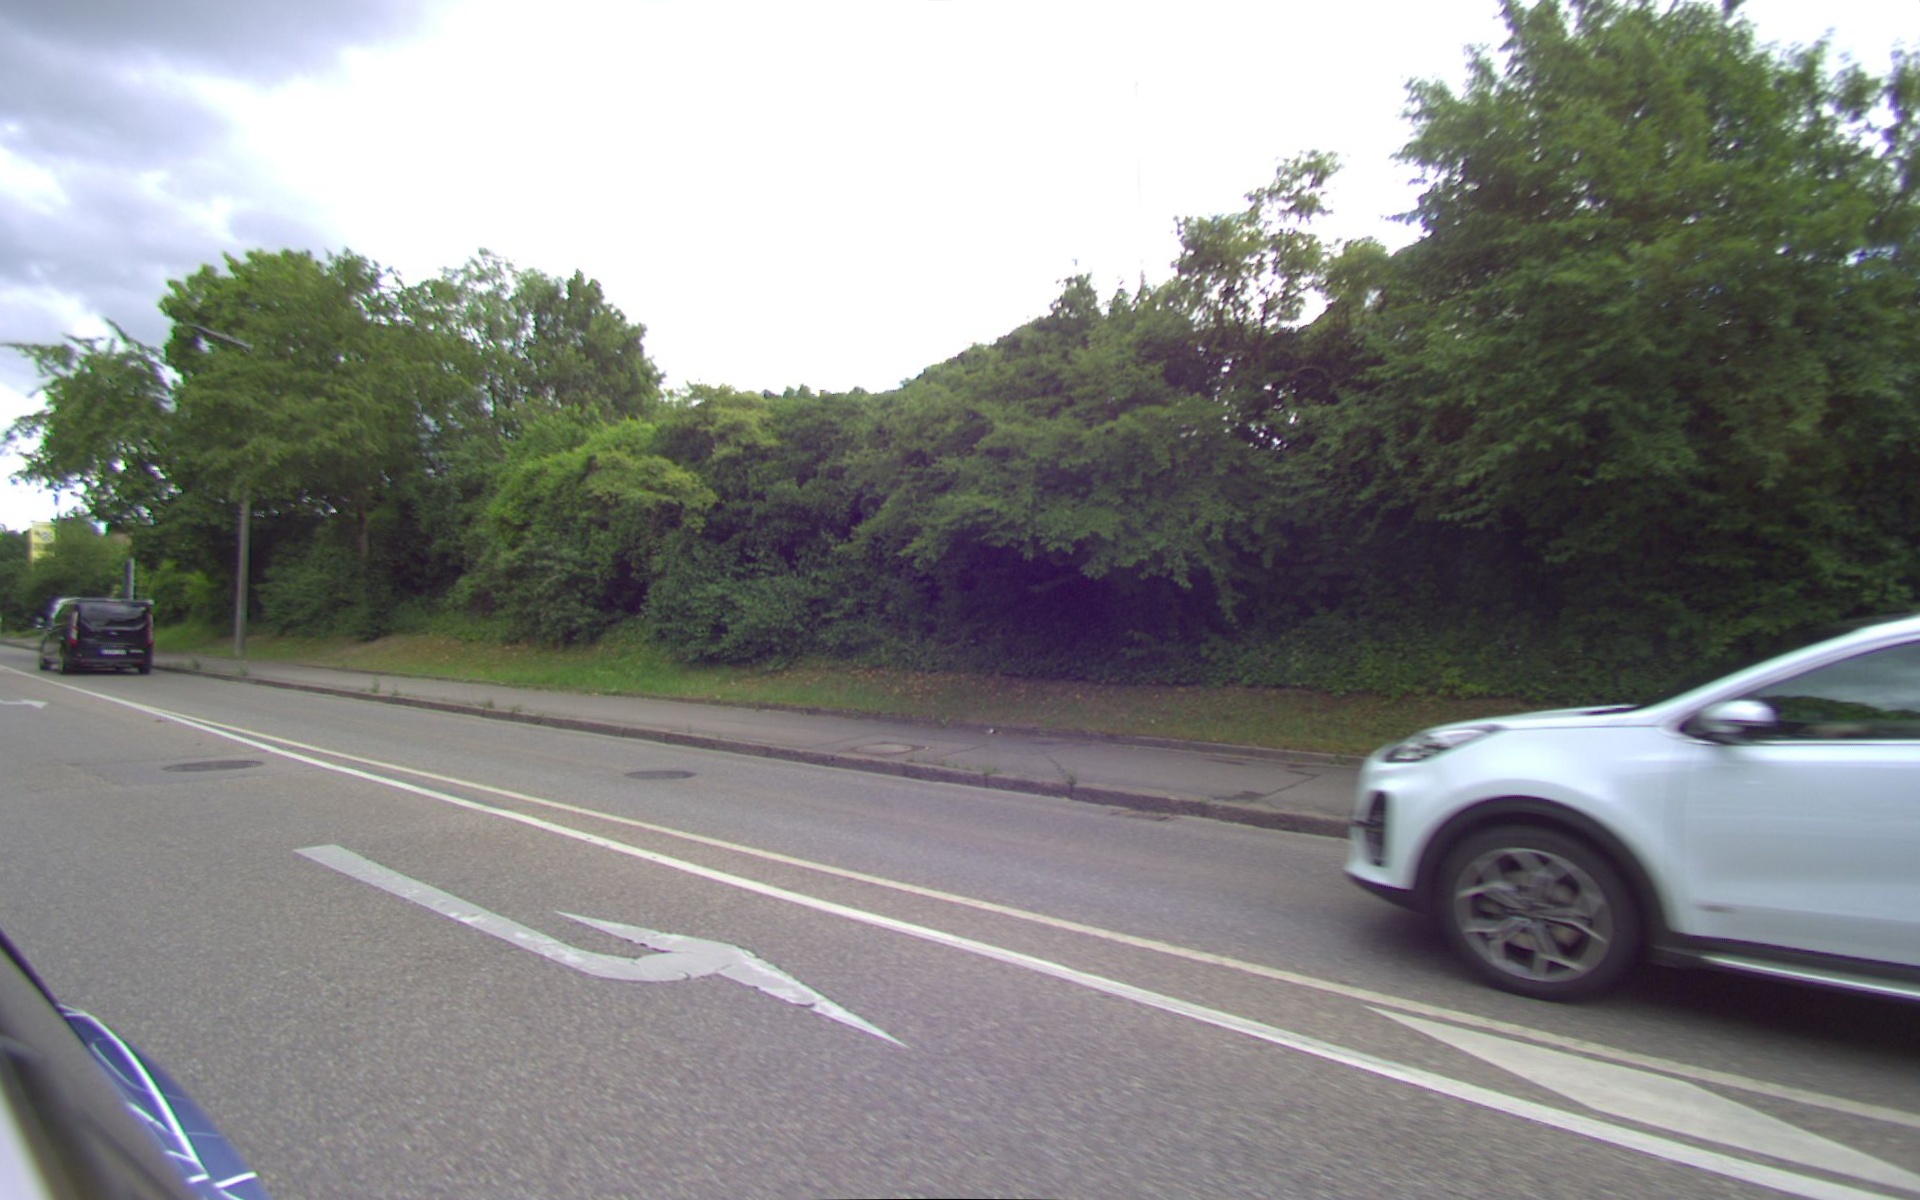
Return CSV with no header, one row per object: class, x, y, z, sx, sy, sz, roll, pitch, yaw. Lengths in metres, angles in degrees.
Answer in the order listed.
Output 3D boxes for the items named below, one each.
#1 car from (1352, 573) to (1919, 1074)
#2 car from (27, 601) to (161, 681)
car,3.912,0.766,3.868,4.155,1.633,1.823,-1,-3,40
car,-24.428,1.123,28.474,5.111,2.052,1.973,-1,-3,40
